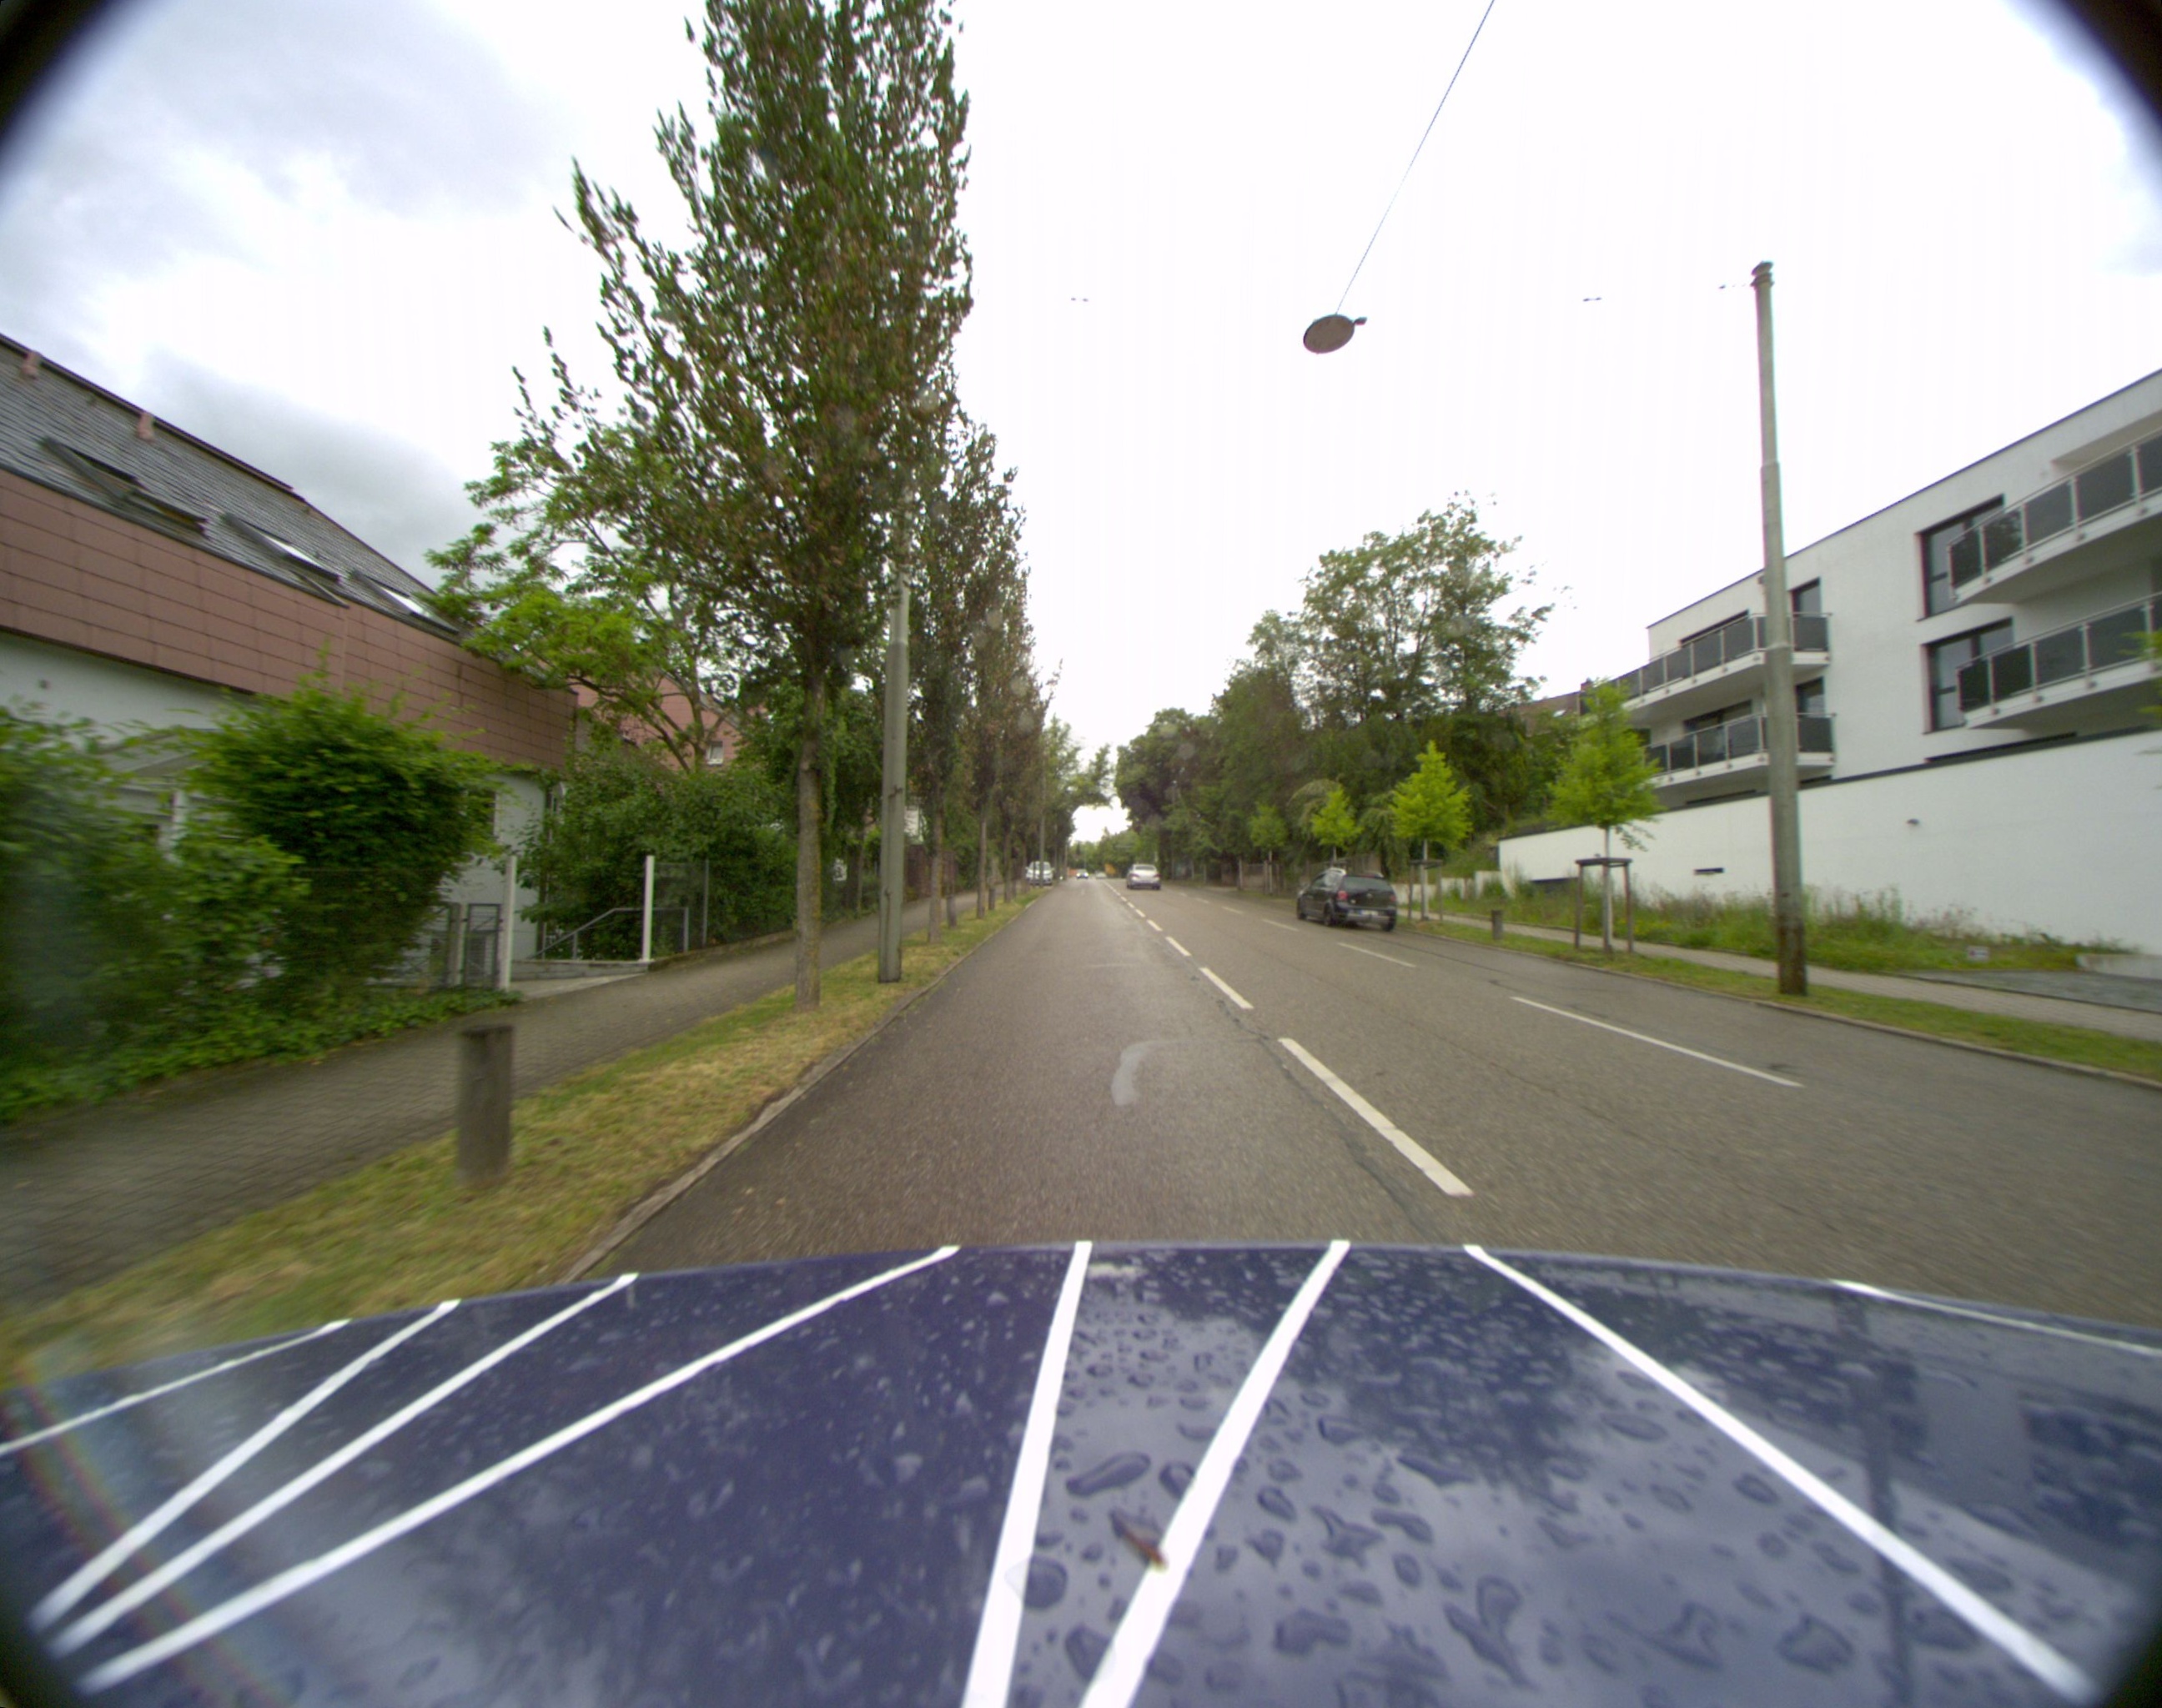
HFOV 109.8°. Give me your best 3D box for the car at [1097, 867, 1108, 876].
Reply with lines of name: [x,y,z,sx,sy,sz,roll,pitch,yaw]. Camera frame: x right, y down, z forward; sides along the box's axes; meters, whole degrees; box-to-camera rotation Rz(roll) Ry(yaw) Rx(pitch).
car: [4.004,3.272,142.192,1.798,1.500,4.093,-1,0,0]

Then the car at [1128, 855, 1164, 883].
car: [3.684,0.827,43.651,1.766,1.477,4.000,1,0,0]

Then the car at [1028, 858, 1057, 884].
car: [-2.563,1.111,51.210,1.829,1.620,3.999,2,0,-1]

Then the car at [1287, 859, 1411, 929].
car: [6.893,0.962,19.990,1.750,1.540,3.917,3,1,-1]

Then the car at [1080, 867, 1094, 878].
car: [1.053,3.072,128.347,1.998,1.673,4.002,-3,-1,3]
